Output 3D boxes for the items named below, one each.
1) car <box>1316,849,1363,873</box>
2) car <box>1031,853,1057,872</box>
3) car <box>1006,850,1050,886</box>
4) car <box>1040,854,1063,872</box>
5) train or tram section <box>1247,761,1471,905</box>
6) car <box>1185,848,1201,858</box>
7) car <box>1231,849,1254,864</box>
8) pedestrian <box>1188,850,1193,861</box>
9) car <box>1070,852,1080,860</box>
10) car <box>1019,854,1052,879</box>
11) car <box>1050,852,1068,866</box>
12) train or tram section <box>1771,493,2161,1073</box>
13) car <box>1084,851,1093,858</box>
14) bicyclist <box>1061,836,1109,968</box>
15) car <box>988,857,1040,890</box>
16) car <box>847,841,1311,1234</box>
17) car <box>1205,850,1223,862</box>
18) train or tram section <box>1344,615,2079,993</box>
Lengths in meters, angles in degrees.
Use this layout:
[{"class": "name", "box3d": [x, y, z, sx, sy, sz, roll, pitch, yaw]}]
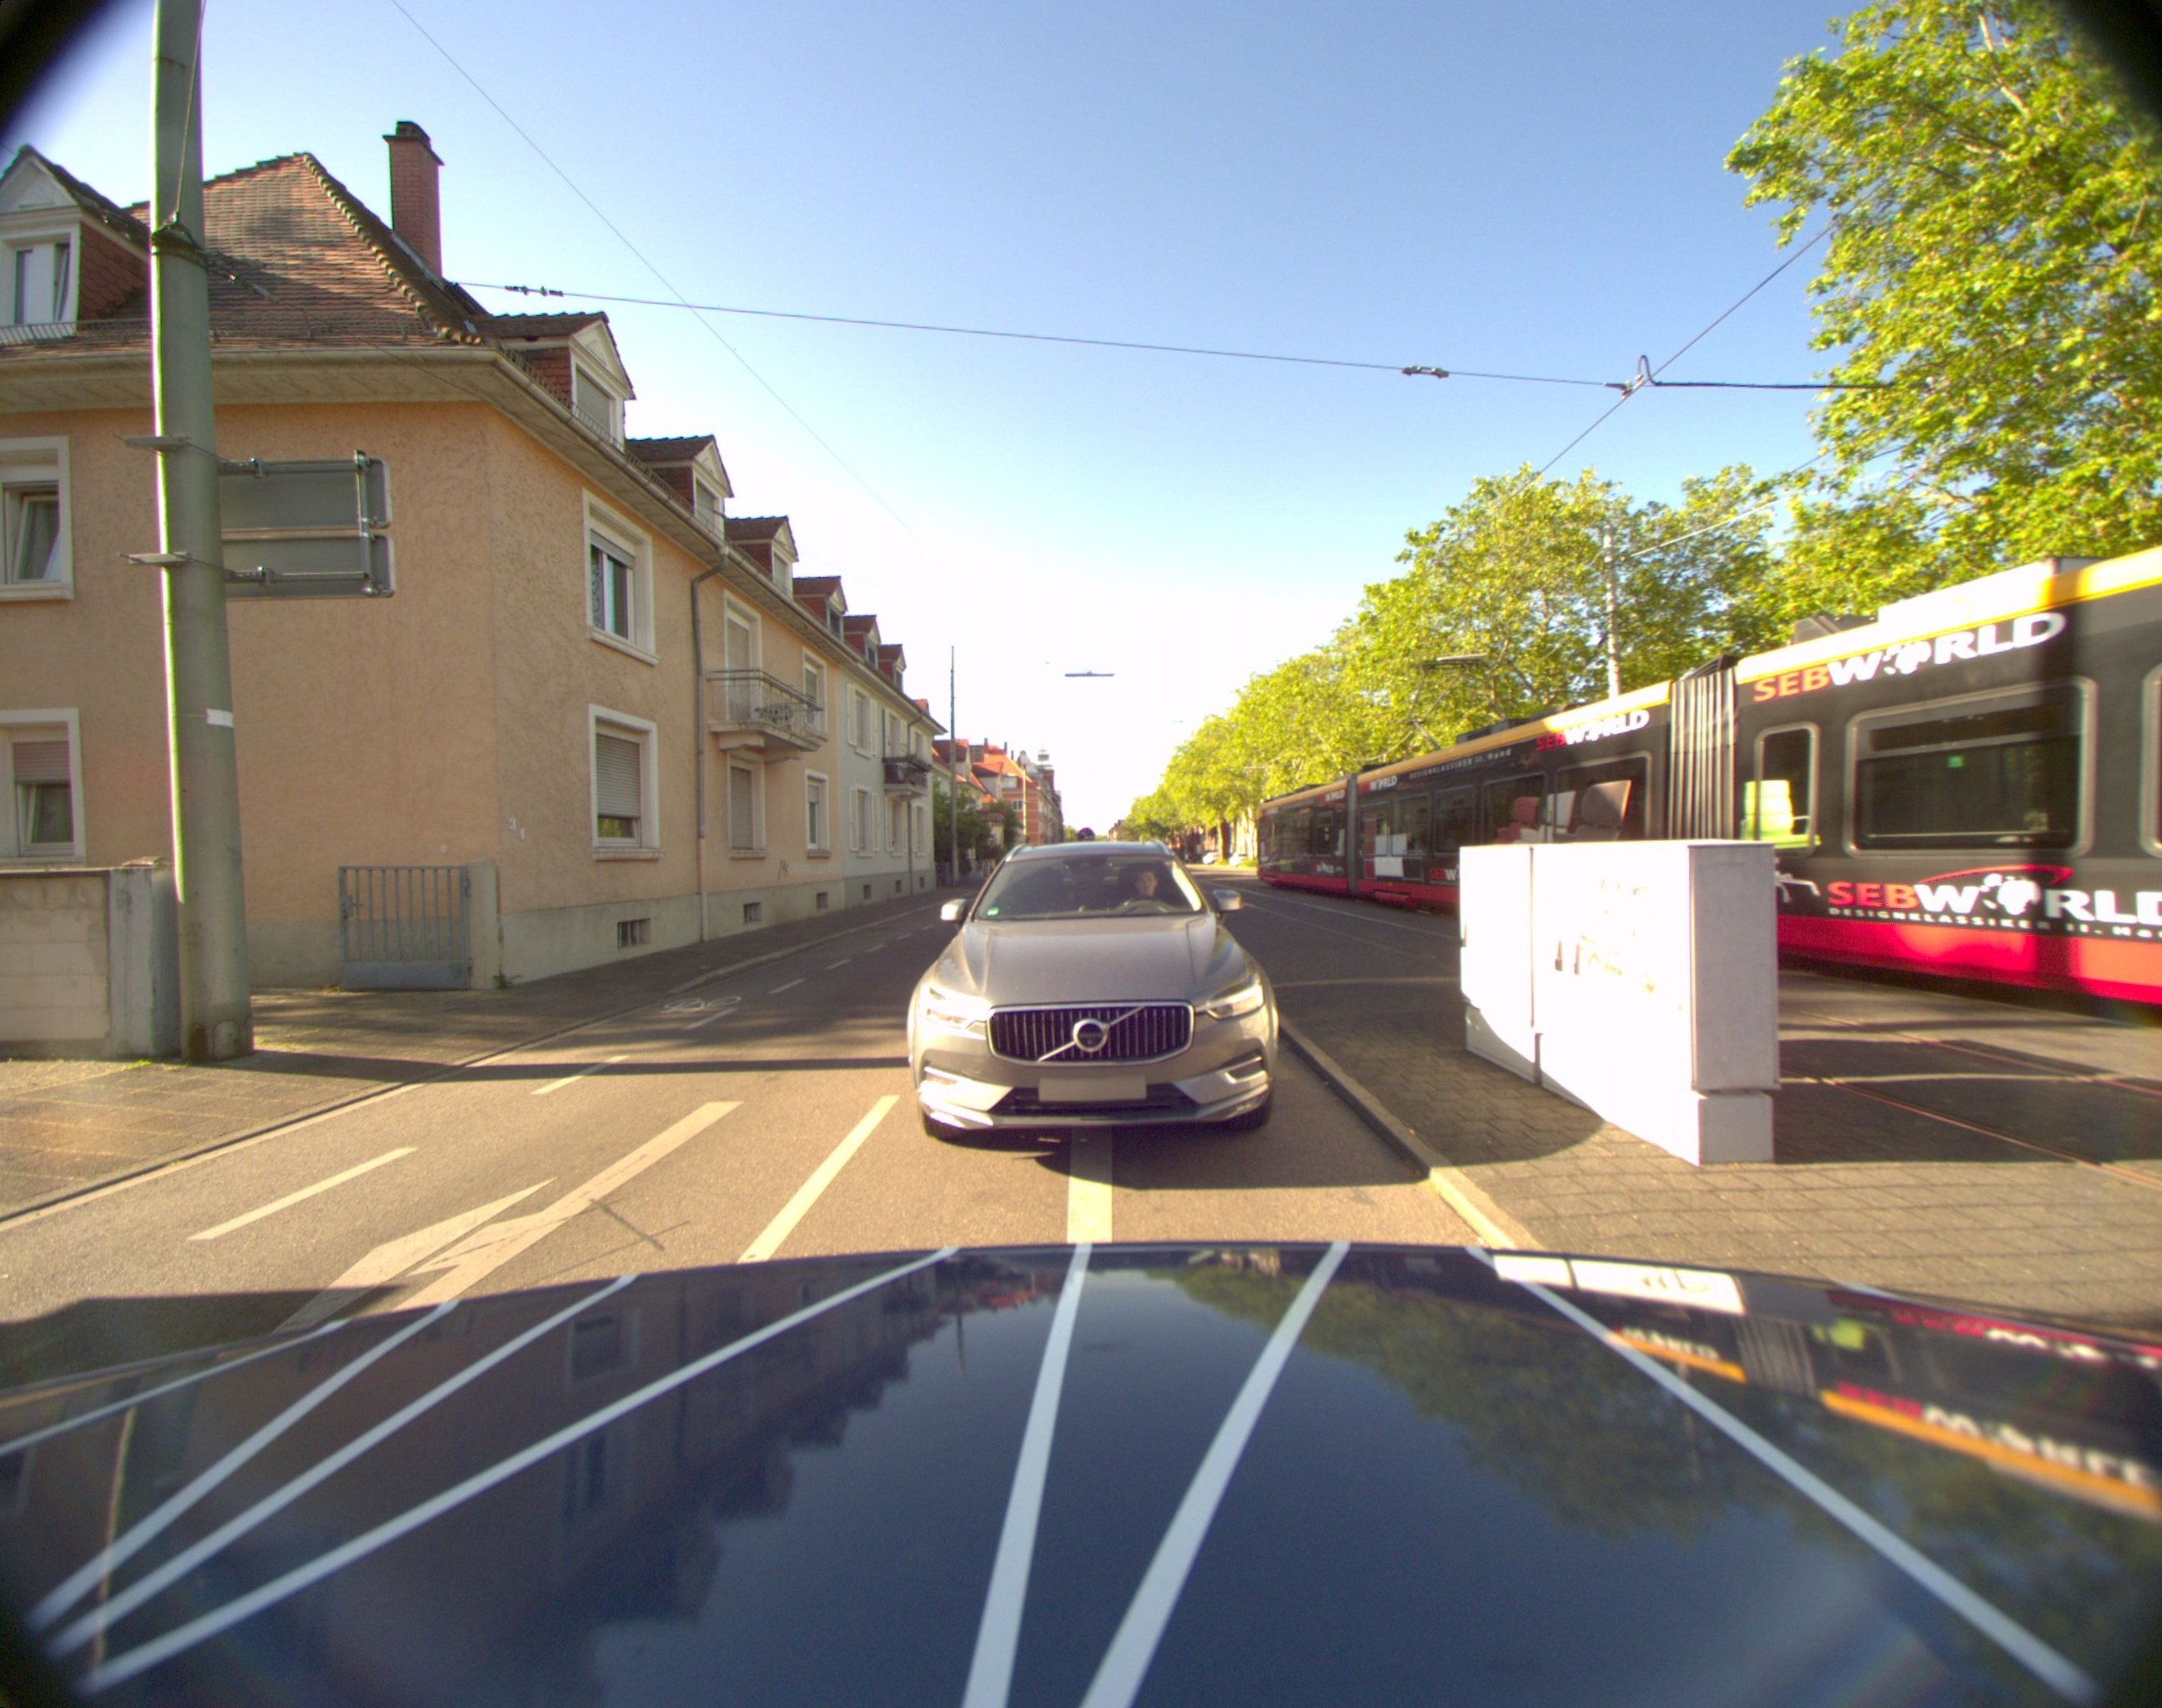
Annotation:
[{"class": "car", "box3d": [17.034, 0.459, 50.326, 1.882, 1.477, 4.000, -1, 0, 2]}, {"class": "car", "box3d": [-2.932, 0.670, 61.173, 1.882, 1.477, 3.999, -1, 0, -1]}, {"class": "car", "box3d": [-2.897, 0.725, 42.916, 1.932, 1.834, 5.313, -1, 0, 2]}, {"class": "car", "box3d": [-2.603, 0.767, 67.280, 1.882, 1.477, 3.999, -1, 0, -1]}, {"class": "train or tram section", "box3d": [8.423, -0.560, 25.639, 3.062, 3.592, 12.889, -1, 0, 1]}, {"class": "car", "box3d": [18.535, -0.175, 125.575, 1.882, 1.542, 3.999, -1, 0, -2]}, {"class": "car", "box3d": [17.713, 0.220, 83.554, 1.882, 1.542, 4.000, -1, 0, 2]}, {"class": "pedestrian", "box3d": [15.429, 0.218, 107.018, 0.578, 1.632, 0.677, -1, 1, 3]}, {"class": "car", "box3d": [-1.100, 0.305, 148.486, 1.882, 1.477, 3.999, -1, 0, -1]}, {"class": "car", "box3d": [-2.840, 0.782, 48.399, 1.882, 1.477, 3.999, -1, 0, -1]}, {"class": "car", "box3d": [-2.479, 0.547, 85.646, 1.882, 1.477, 3.999, -1, 0, -1]}, {"class": "train or tram section", "box3d": [8.418, -0.451, 1.267, 3.064, 3.592, 12.110, -1, 0, -3]}, {"class": "car", "box3d": [1.660, 0.060, 162.548, 1.882, 1.477, 3.999, -1, 0, -1]}, {"class": "bicyclist", "box3d": [0.056, 0.619, 10.210, 0.600, 1.709, 0.662, -1, 1, 1]}, {"class": "car", "box3d": [-3.206, 0.920, 37.166, 1.881, 1.477, 4.001, -1, 0, 5]}, {"class": "car", "box3d": [0.024, 0.766, 5.438, 1.917, 1.621, 4.502, -1, 0, 1]}, {"class": "car", "box3d": [17.641, 0.258, 100.858, 1.882, 1.542, 4.000, -1, 0, 2]}, {"class": "train or tram section", "box3d": [8.173, -0.505, 13.316, 3.063, 3.592, 11.949, -1, 0, 1]}]
